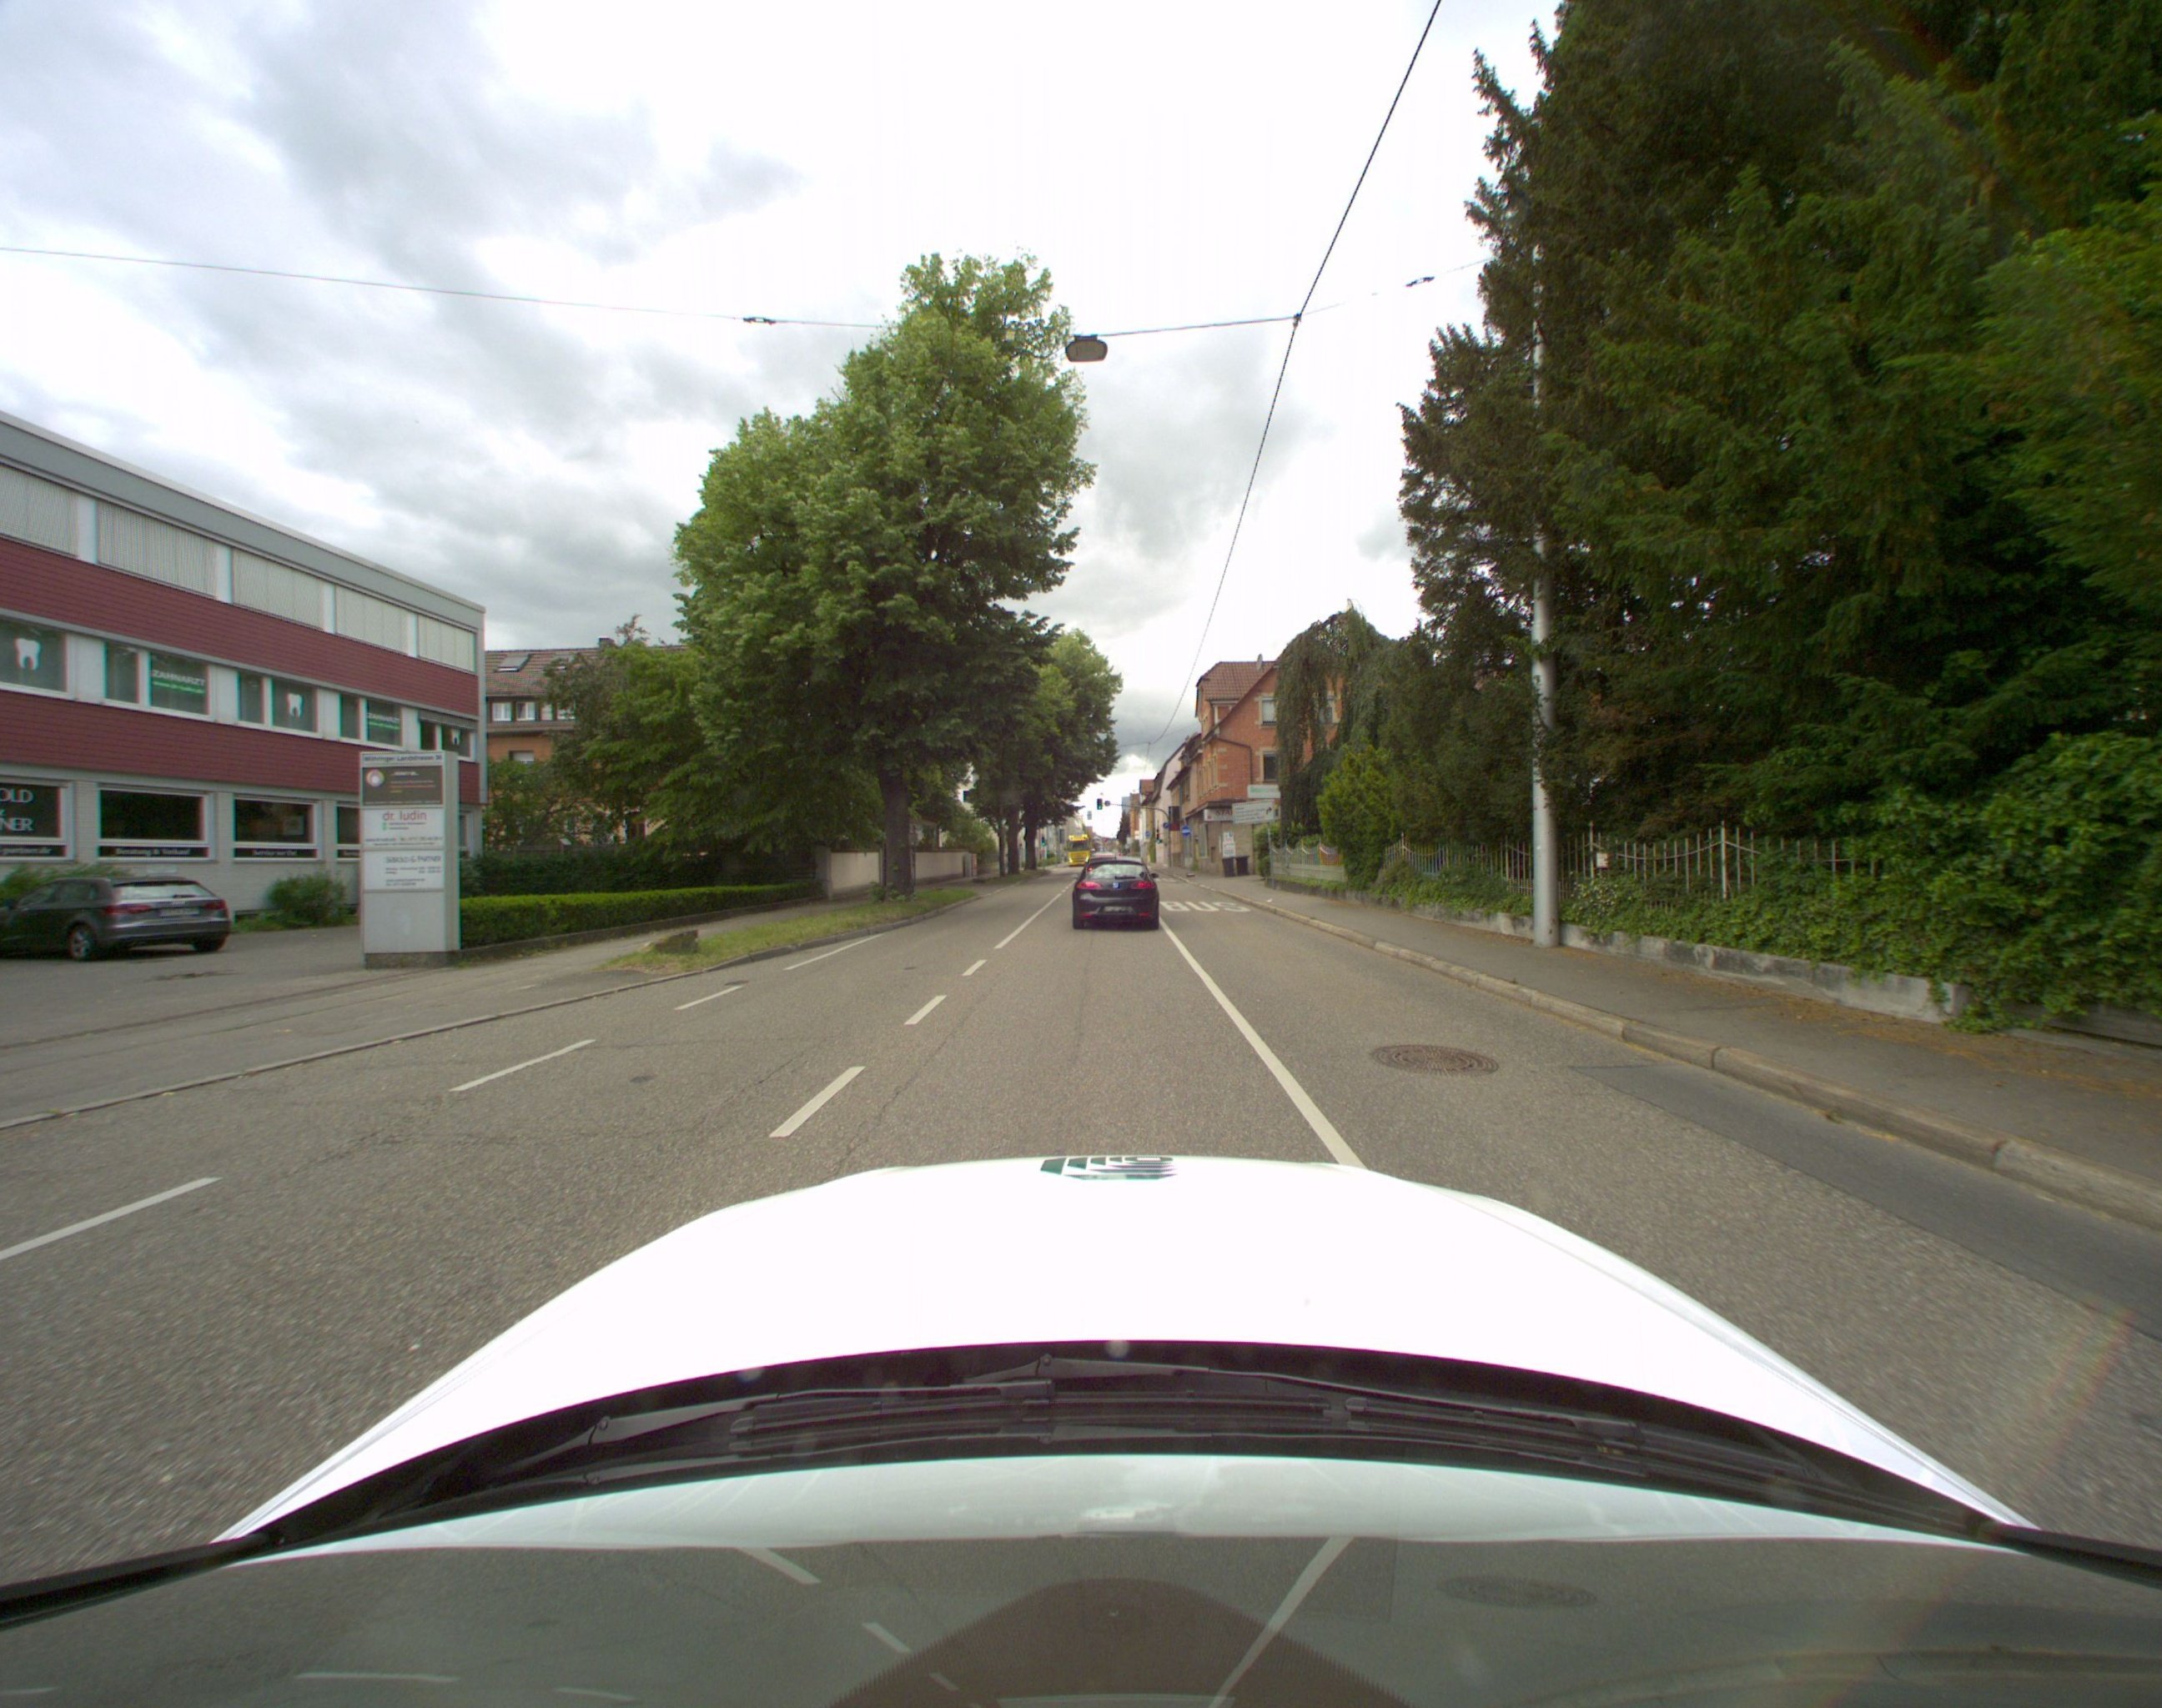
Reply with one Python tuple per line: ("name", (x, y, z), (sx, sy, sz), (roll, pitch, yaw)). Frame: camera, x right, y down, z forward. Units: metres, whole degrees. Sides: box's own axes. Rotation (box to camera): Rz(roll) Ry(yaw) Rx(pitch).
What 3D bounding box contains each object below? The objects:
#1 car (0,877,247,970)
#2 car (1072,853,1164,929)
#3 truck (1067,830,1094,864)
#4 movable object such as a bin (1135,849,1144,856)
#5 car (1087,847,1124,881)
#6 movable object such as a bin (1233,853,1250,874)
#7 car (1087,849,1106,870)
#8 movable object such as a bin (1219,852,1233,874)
("car", (-17.659, 1.184, 14.745), (4.106, 1.479, 1.820), (-1, 0, 16))
("car", (0.766, 0.713, 17.517), (1.752, 1.442, 4.001), (-1, 0, 2))
("truck", (0.024, -0.787, 96.781), (2.832, 3.782, 7.673), (-1, 0, 2))
("movable object such as a bin", (12.205, -0.316, 170.518), (1.810, 1.437, 1.994), (-1, 0, 2))
("car", (1.256, 0.504, 41.960), (1.836, 1.693, 4.001), (-1, 0, 1))
("movable object such as a bin", (8.402, 0.481, 42.580), (0.696, 1.059, 0.724), (-3, -1, 2))
("car", (1.275, 0.424, 66.682), (1.526, 1.693, 3.694), (-1, 0, 1))
("movable object such as a bin", (7.585, 0.468, 42.569), (0.604, 1.100, 0.623), (-3, -1, 2))
